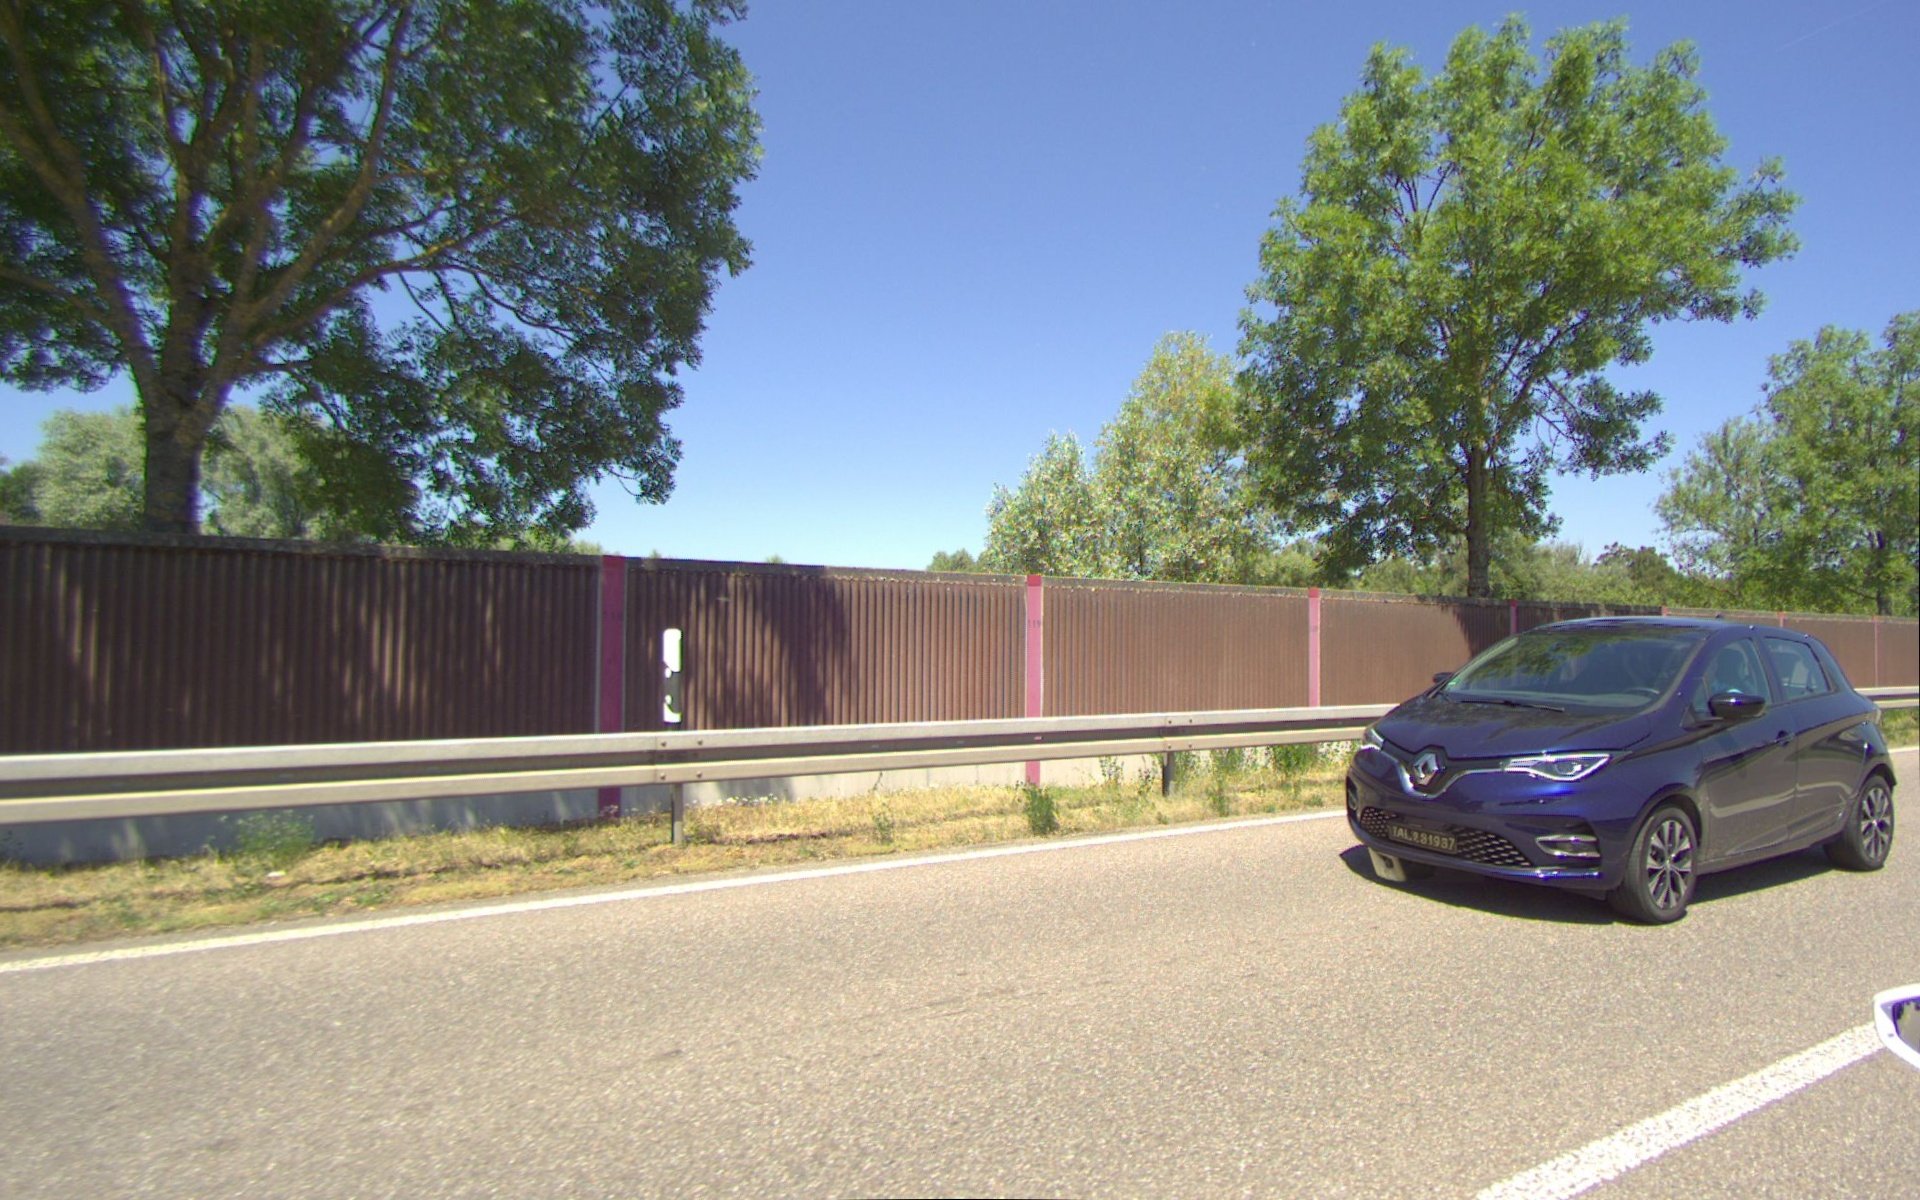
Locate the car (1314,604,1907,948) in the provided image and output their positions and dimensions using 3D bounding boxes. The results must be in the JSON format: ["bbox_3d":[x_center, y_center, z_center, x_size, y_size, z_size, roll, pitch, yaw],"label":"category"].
[{"bbox_3d":[4.154,0.864,6.314,3.718,1.598,1.615,1,-1,-30],"label":"car"}]
